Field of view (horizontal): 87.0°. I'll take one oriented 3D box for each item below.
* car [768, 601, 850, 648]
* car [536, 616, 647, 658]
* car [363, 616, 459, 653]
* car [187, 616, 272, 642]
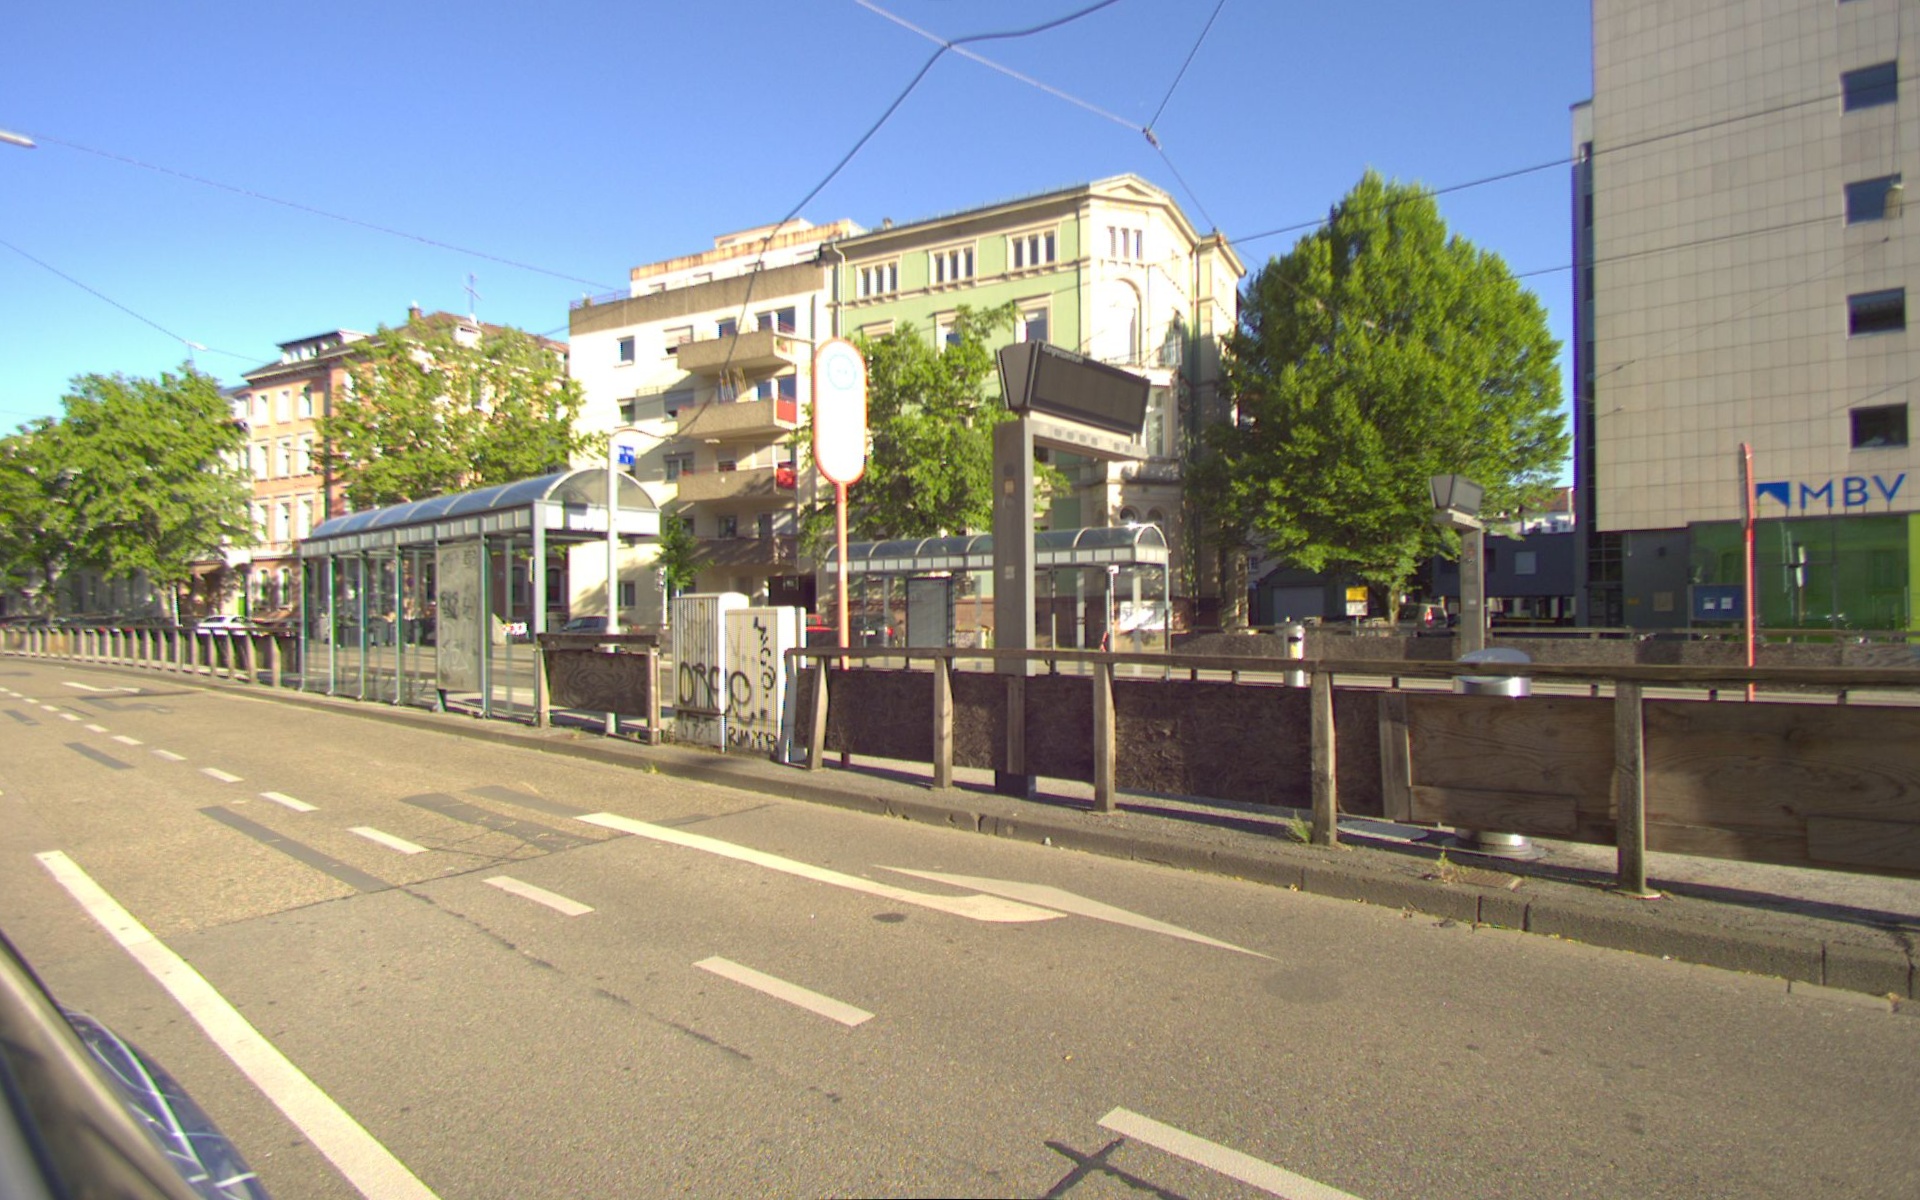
[{"bbox_3d":[-6.838,1.111,46.157,1.791,2.029,3.963,-1,-1,27],"label":"car"},{"bbox_3d":[-14.109,1.384,38.736,3.987,1.541,1.978,-1,-2,32],"label":"car"},{"bbox_3d":[-23.694,1.462,43.687,3.987,1.541,1.978,-1,-2,32],"label":"car"},{"bbox_3d":[-39.122,1.539,54.276,1.565,1.360,3.631,0,-1,11],"label":"car"}]
